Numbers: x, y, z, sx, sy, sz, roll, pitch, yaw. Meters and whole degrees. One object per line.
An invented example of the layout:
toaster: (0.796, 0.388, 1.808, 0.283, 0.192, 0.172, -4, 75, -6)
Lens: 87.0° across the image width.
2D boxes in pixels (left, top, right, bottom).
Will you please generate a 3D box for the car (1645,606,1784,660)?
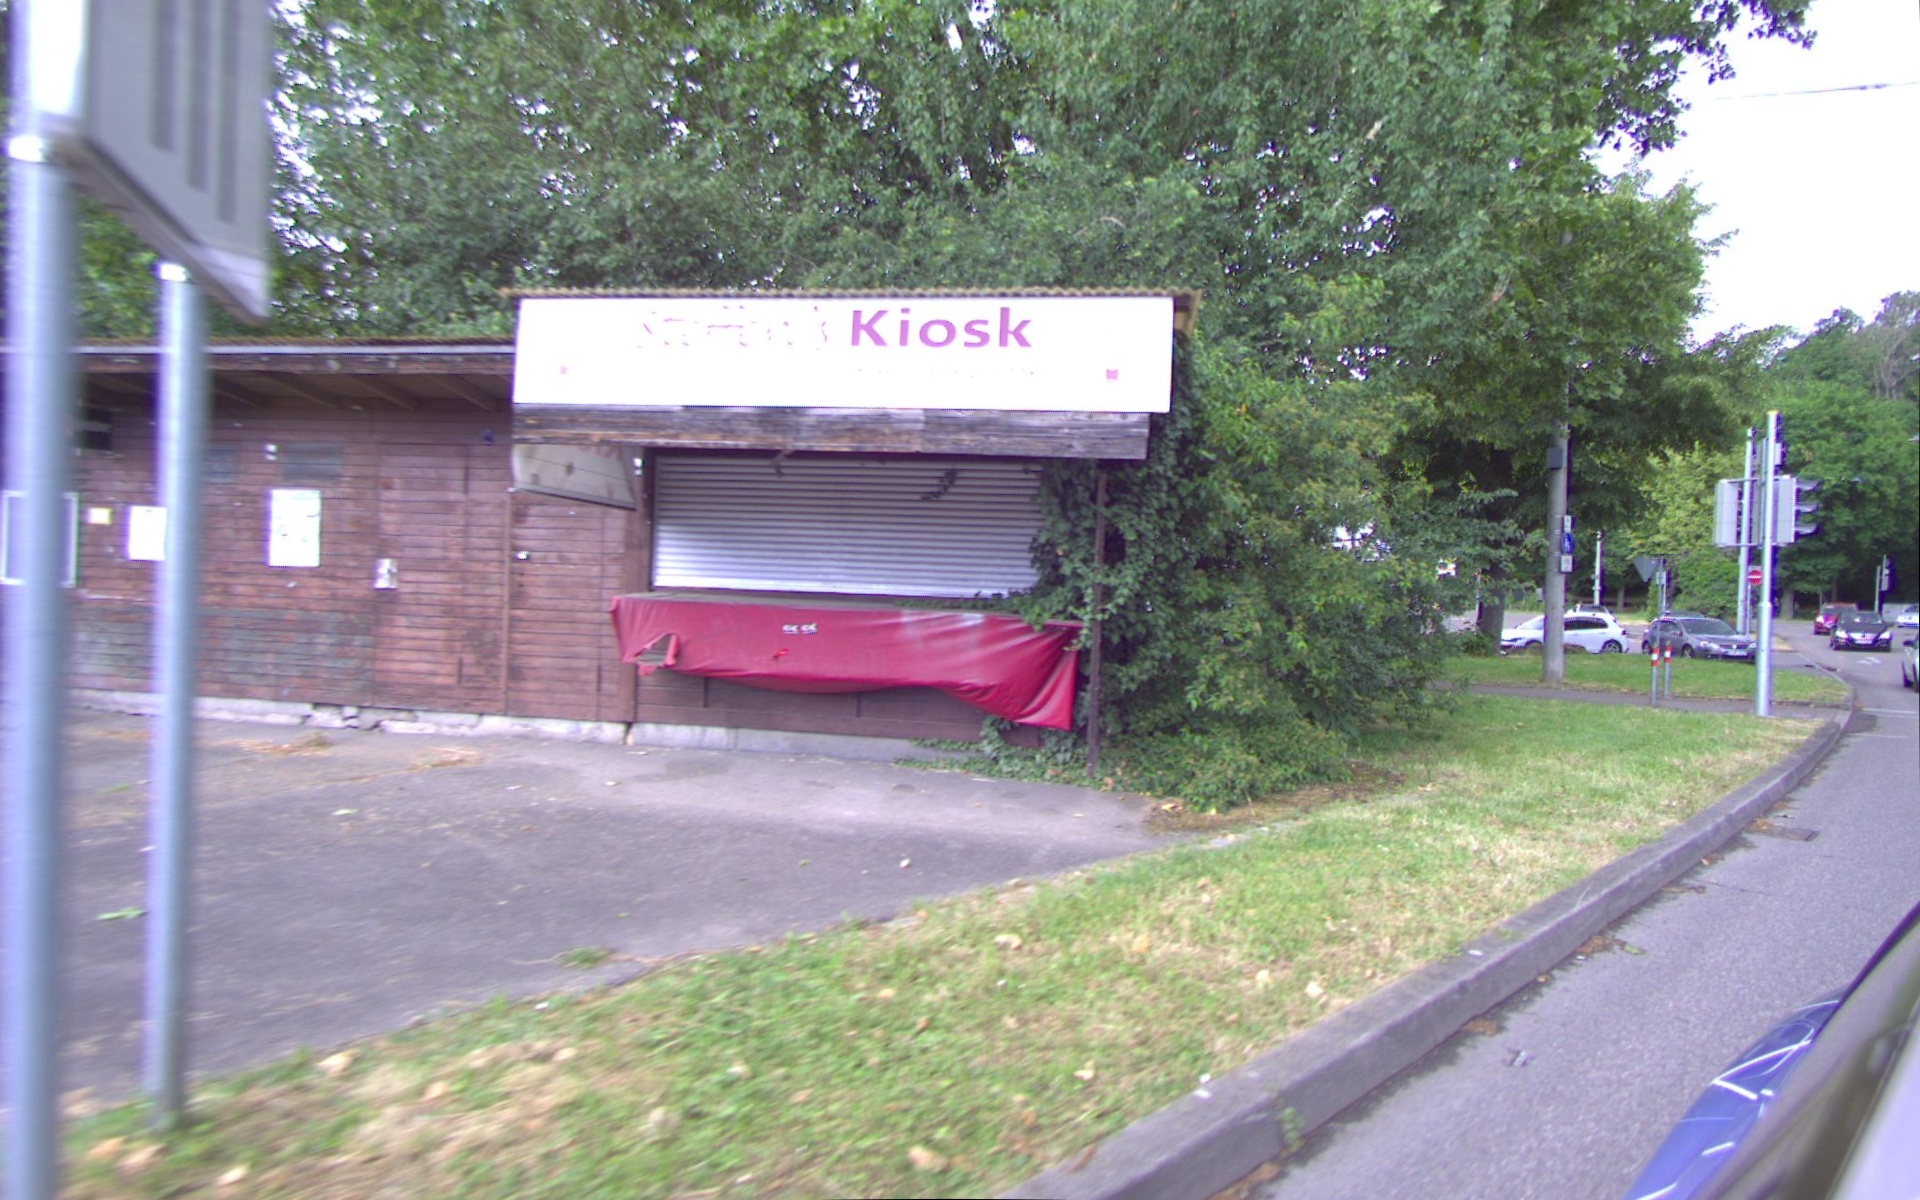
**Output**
car: (22.678, 0.939, 30.623, 1.706, 1.447, 4.099, 2, 0, 11)

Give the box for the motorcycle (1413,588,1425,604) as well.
motorcycle: (30.698, -0.289, 67.691, 0.517, 0.997, 1.804, 2, 2, 29)

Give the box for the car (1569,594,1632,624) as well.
car: (35.437, 0.452, 56.106, 1.976, 1.403, 4.756, 2, 3, 21)

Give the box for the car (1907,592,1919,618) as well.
car: (61.190, 0.329, 64.031, 1.779, 1.588, 3.937, 3, 3, 43)

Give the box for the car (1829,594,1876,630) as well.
car: (46.219, 0.570, 52.473, 1.669, 1.661, 4.042, 3, 3, 40)

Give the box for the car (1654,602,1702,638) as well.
car: (31.220, 0.825, 43.969, 1.565, 1.421, 3.447, 2, 1, 37)

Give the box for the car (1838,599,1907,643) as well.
car: (36.983, 0.820, 41.081, 1.723, 1.539, 3.946, 3, 3, 38)

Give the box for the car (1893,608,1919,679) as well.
car: (21.637, 0.978, 21.779, 1.618, 1.527, 3.952, 2, 0, 33)

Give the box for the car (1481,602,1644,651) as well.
car: (19.351, 0.834, 32.632, 4.179, 1.398, 1.766, 1, 1, -2)
